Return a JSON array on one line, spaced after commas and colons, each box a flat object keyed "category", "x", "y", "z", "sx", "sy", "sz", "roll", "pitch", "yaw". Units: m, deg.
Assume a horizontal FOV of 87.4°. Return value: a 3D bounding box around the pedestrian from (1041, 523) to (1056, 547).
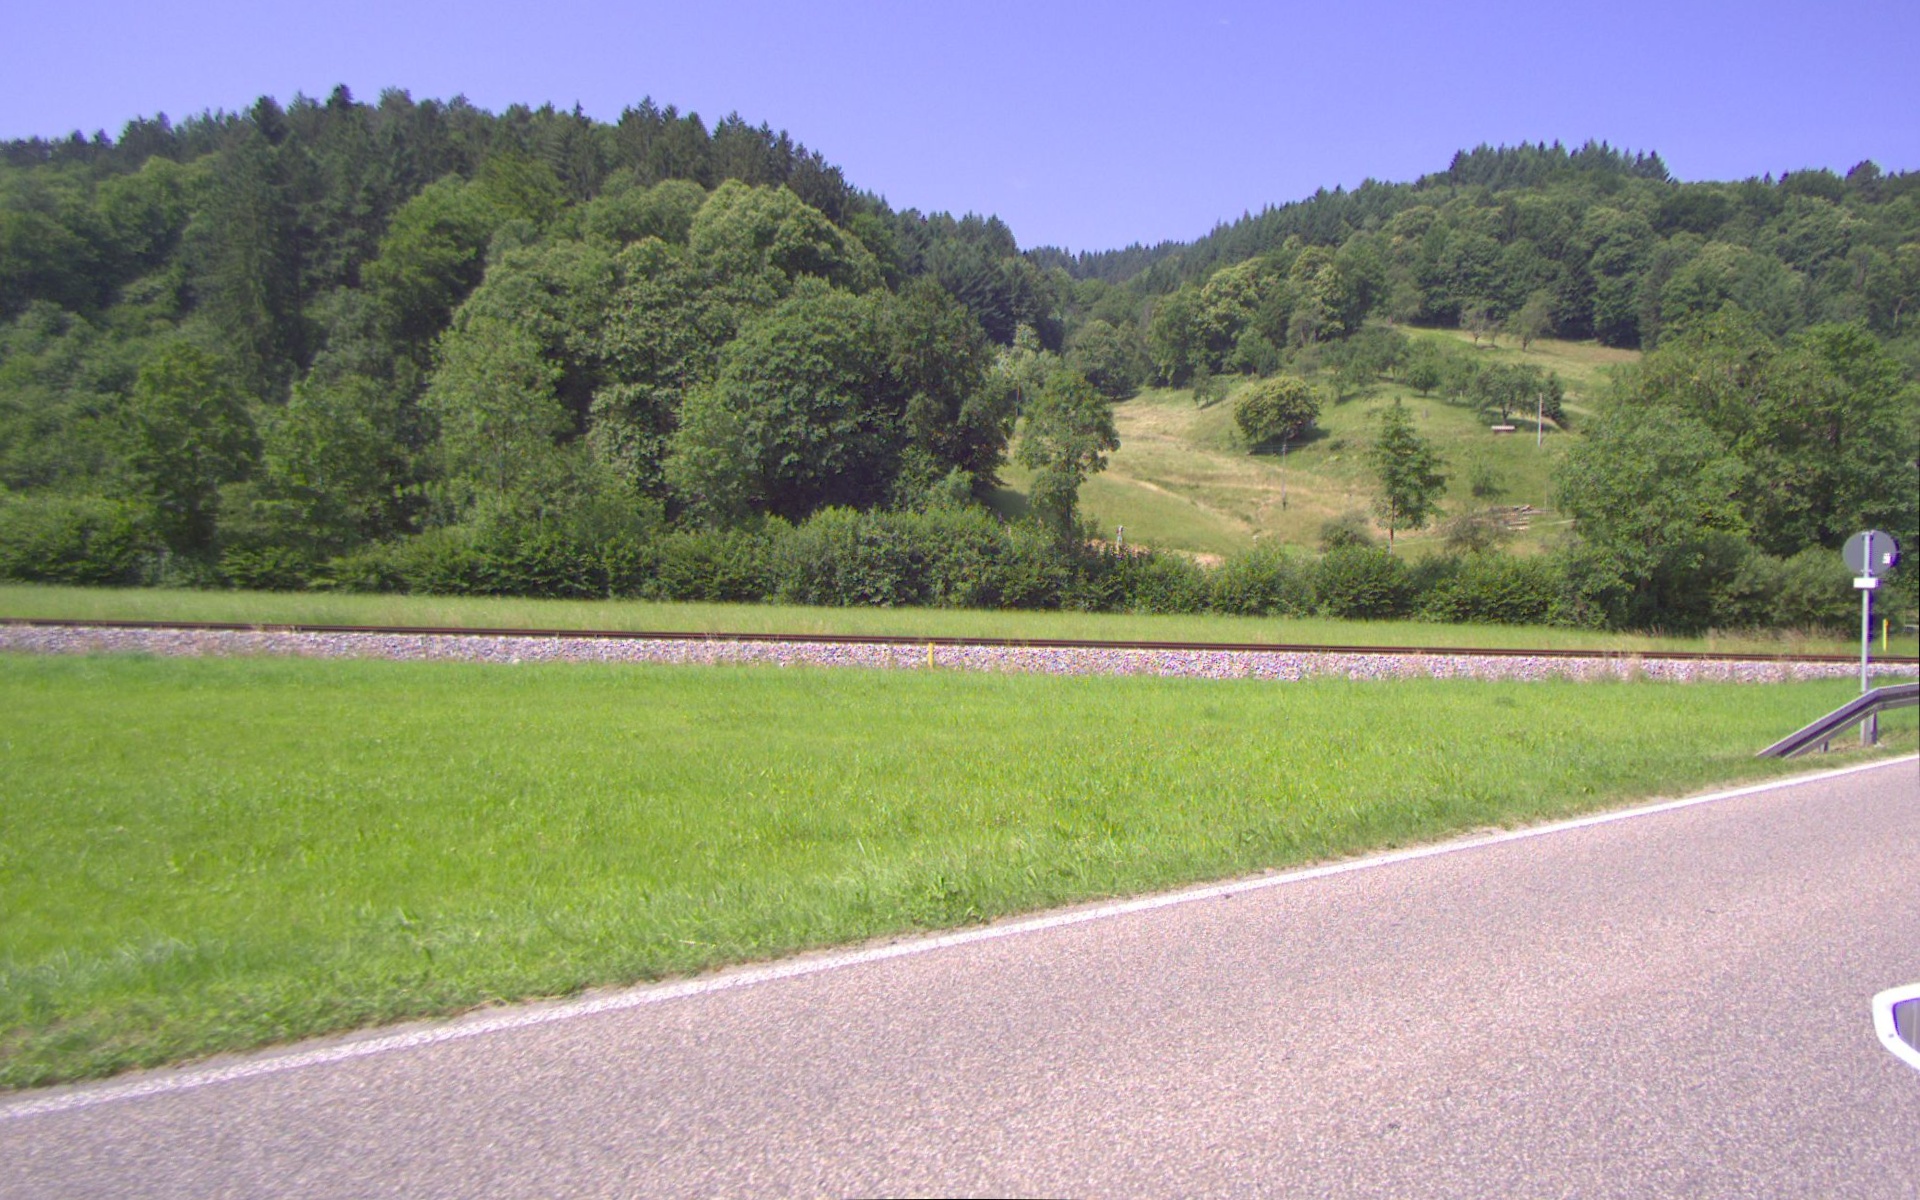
[{"category": "pedestrian", "x": 9.053, "y": -6.708, "z": 103.215, "sx": 1.062, "sy": 2.398, "sz": 1.073, "roll": 0, "pitch": 1, "yaw": -35}]
